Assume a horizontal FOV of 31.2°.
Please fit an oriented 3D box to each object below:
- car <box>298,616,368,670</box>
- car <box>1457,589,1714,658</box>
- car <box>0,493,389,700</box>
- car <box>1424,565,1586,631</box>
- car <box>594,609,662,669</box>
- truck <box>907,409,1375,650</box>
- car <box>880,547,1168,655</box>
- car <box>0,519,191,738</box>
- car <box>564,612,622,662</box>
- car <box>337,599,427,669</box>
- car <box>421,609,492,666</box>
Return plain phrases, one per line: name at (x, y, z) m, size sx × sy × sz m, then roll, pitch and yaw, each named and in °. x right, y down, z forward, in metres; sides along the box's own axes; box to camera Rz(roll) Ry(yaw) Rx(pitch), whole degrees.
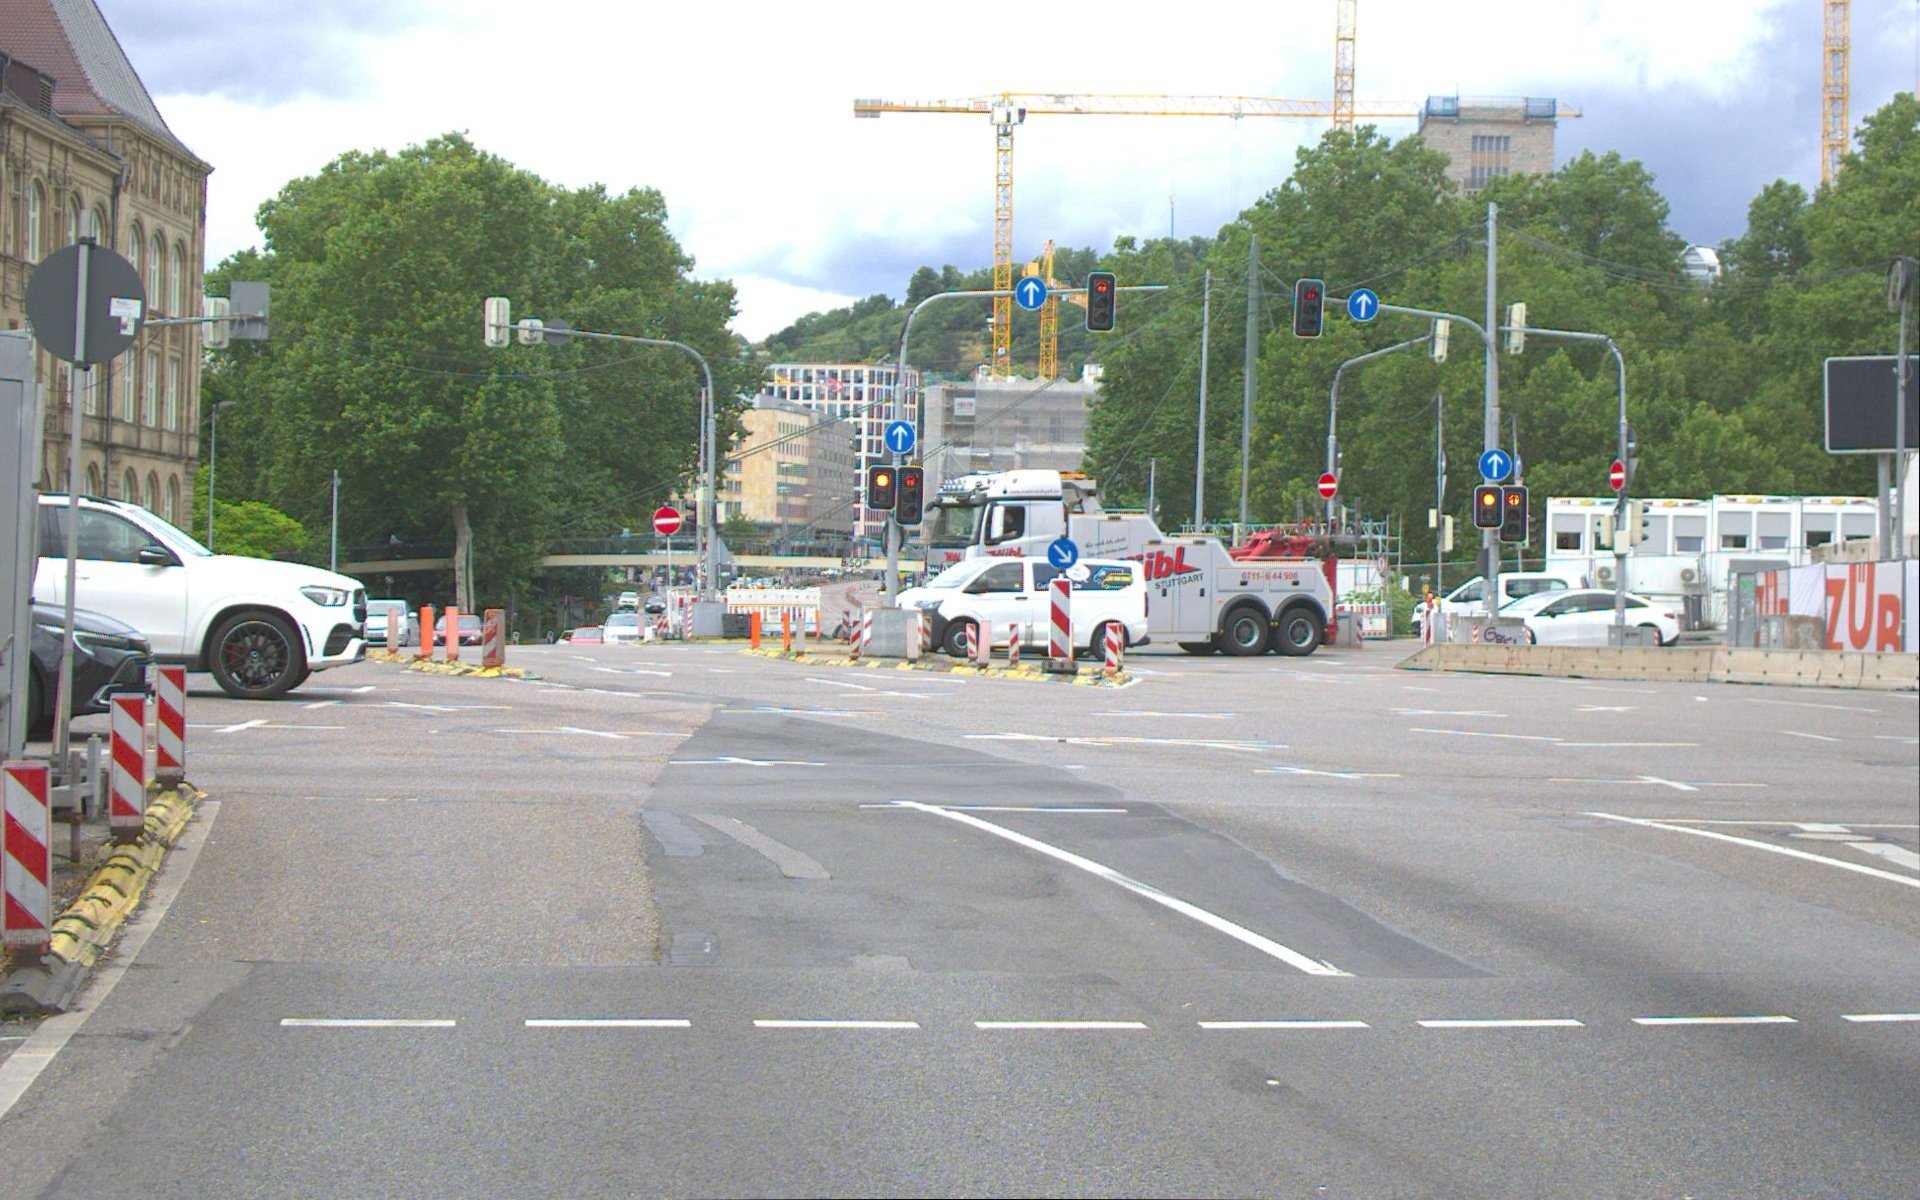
car at (-22.541, 1.528, 123.720) m, size 1.993 × 1.831 × 4.001 m, roll 1°, pitch 1°, yaw -3°
car at (13.661, 0.513, 75.069) m, size 5.132 × 1.415 × 2.238 m, roll 1°, pitch 1°, yaw -23°
car at (-7.504, -0.050, 30.832) m, size 4.490 × 1.753 × 2.000 m, roll 1°, pitch 0°, yaw -3°
car at (14.256, -0.065, 89.829) m, size 3.990 × 1.645 × 1.865 m, roll 1°, pitch 0°, yaw 15°
car at (-10.688, 1.246, 110.816) m, size 1.993 × 1.831 × 4.001 m, roll 1°, pitch 1°, yaw -3°
truck at (3.961, -1.451, 74.314) m, size 9.713 × 4.943 × 3.114 m, roll 1°, pitch 0°, yaw -25°
car at (1.233, 0.021, 66.299) m, size 5.129 × 2.007 × 2.078 m, roll 1°, pitch 1°, yaw -23°
car at (-7.828, 0.158, 24.023) m, size 4.490 × 1.461 × 2.000 m, roll 1°, pitch 0°, yaw -2°
car at (-14.298, 1.439, 134.142) m, size 1.993 × 1.831 × 4.001 m, roll 1°, pitch 1°, yaw -3°
car at (-15.957, 0.914, 95.032) m, size 1.993 × 1.831 × 4.001 m, roll 1°, pitch 1°, yaw -3°
car at (-16.991, 1.253, 116.071) m, size 1.993 × 1.831 × 4.001 m, roll 1°, pitch 1°, yaw -3°
